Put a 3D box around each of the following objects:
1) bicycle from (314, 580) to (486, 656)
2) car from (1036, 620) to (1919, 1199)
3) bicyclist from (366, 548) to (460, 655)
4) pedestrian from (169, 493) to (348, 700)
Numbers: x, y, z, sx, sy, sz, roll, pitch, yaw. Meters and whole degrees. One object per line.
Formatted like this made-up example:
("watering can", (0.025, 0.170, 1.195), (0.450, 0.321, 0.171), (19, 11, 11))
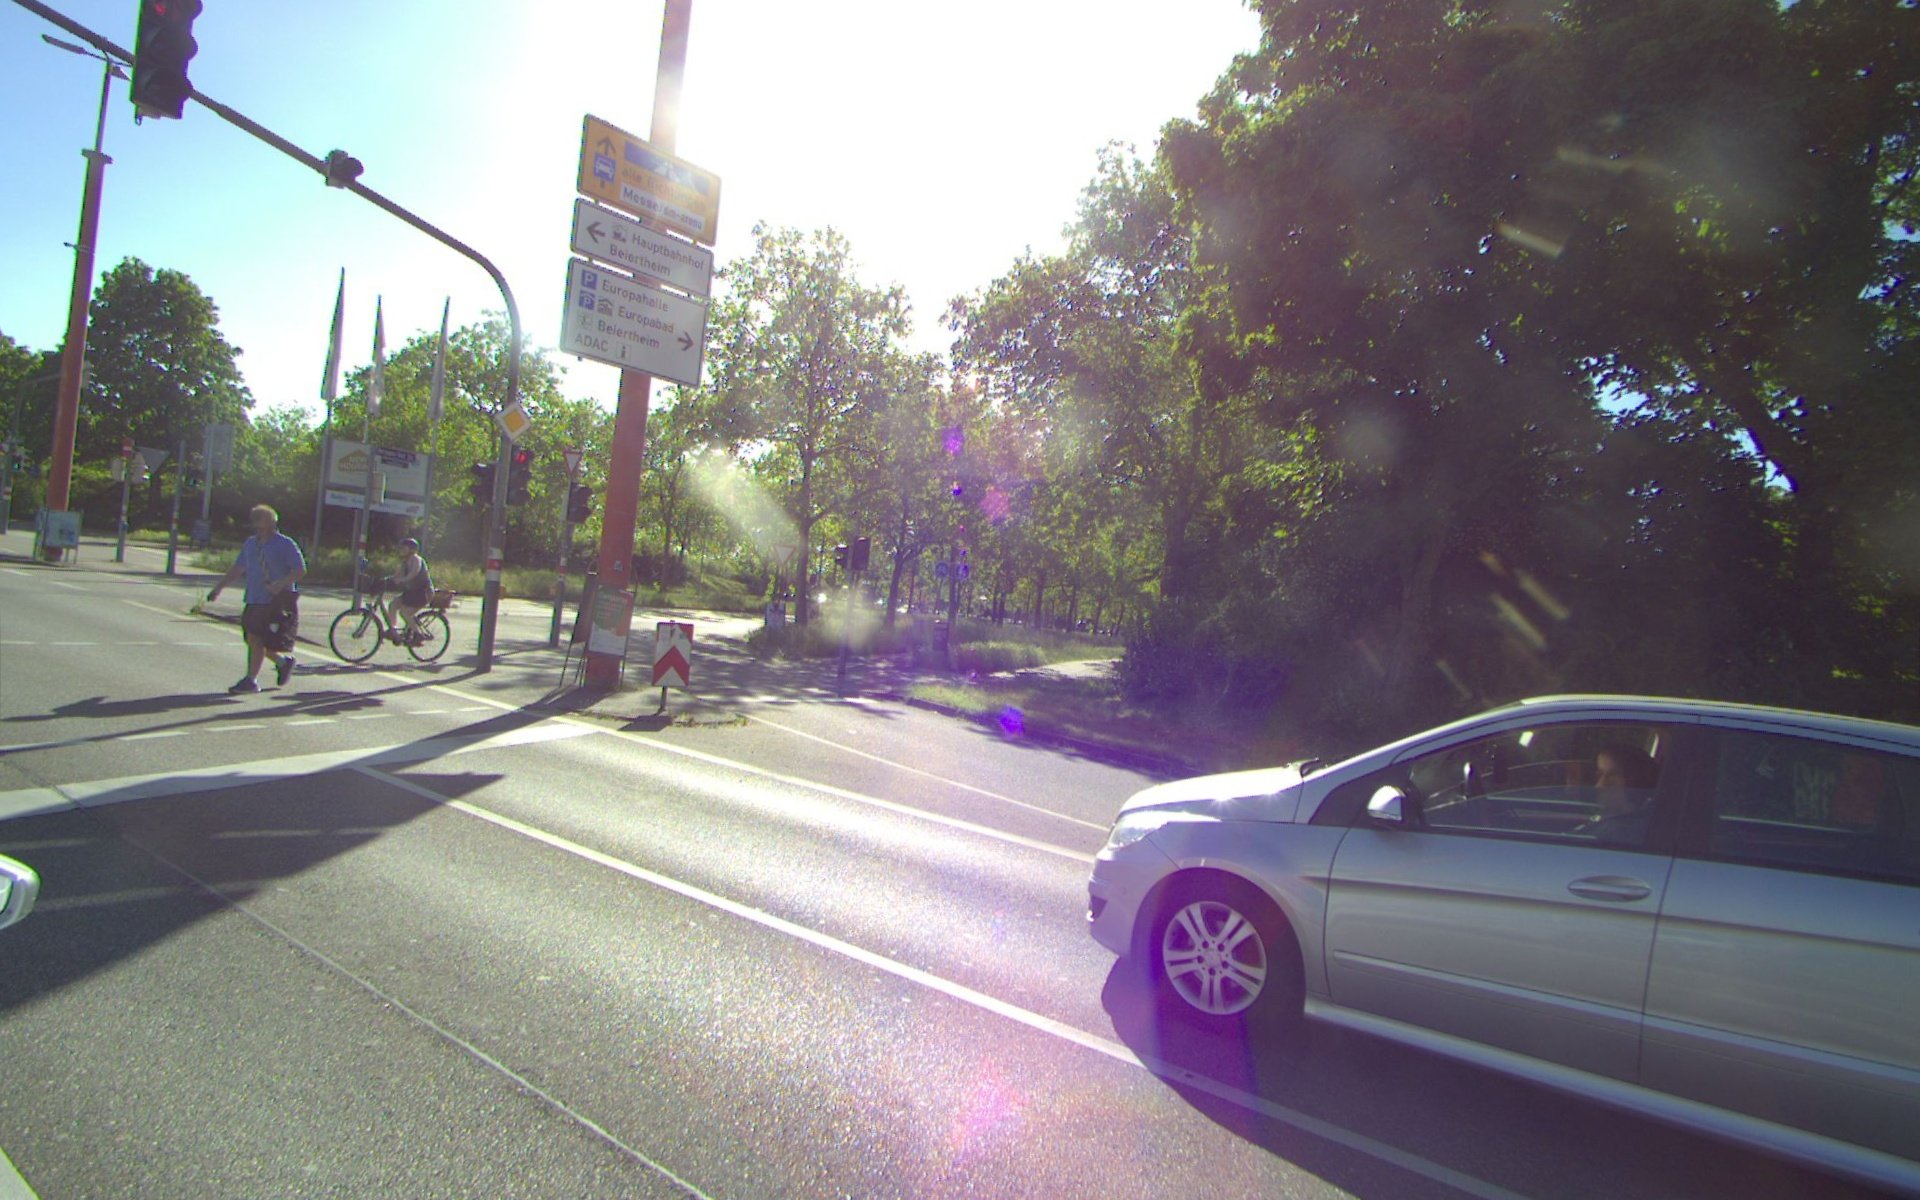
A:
("bicycle", (-7.566, 0.278, 13.737), (0.549, 0.889, 2.169), (7, -1, 19))
("car", (2.530, 1.120, 4.071), (3.994, 1.559, 1.670), (7, 0, 33))
("bicyclist", (-7.503, 0.027, 13.813), (0.695, 1.358, 0.742), (7, 0, 21))
("pedestrian", (-6.707, -0.022, 9.669), (0.883, 1.810, 0.894), (7, 0, 7))
